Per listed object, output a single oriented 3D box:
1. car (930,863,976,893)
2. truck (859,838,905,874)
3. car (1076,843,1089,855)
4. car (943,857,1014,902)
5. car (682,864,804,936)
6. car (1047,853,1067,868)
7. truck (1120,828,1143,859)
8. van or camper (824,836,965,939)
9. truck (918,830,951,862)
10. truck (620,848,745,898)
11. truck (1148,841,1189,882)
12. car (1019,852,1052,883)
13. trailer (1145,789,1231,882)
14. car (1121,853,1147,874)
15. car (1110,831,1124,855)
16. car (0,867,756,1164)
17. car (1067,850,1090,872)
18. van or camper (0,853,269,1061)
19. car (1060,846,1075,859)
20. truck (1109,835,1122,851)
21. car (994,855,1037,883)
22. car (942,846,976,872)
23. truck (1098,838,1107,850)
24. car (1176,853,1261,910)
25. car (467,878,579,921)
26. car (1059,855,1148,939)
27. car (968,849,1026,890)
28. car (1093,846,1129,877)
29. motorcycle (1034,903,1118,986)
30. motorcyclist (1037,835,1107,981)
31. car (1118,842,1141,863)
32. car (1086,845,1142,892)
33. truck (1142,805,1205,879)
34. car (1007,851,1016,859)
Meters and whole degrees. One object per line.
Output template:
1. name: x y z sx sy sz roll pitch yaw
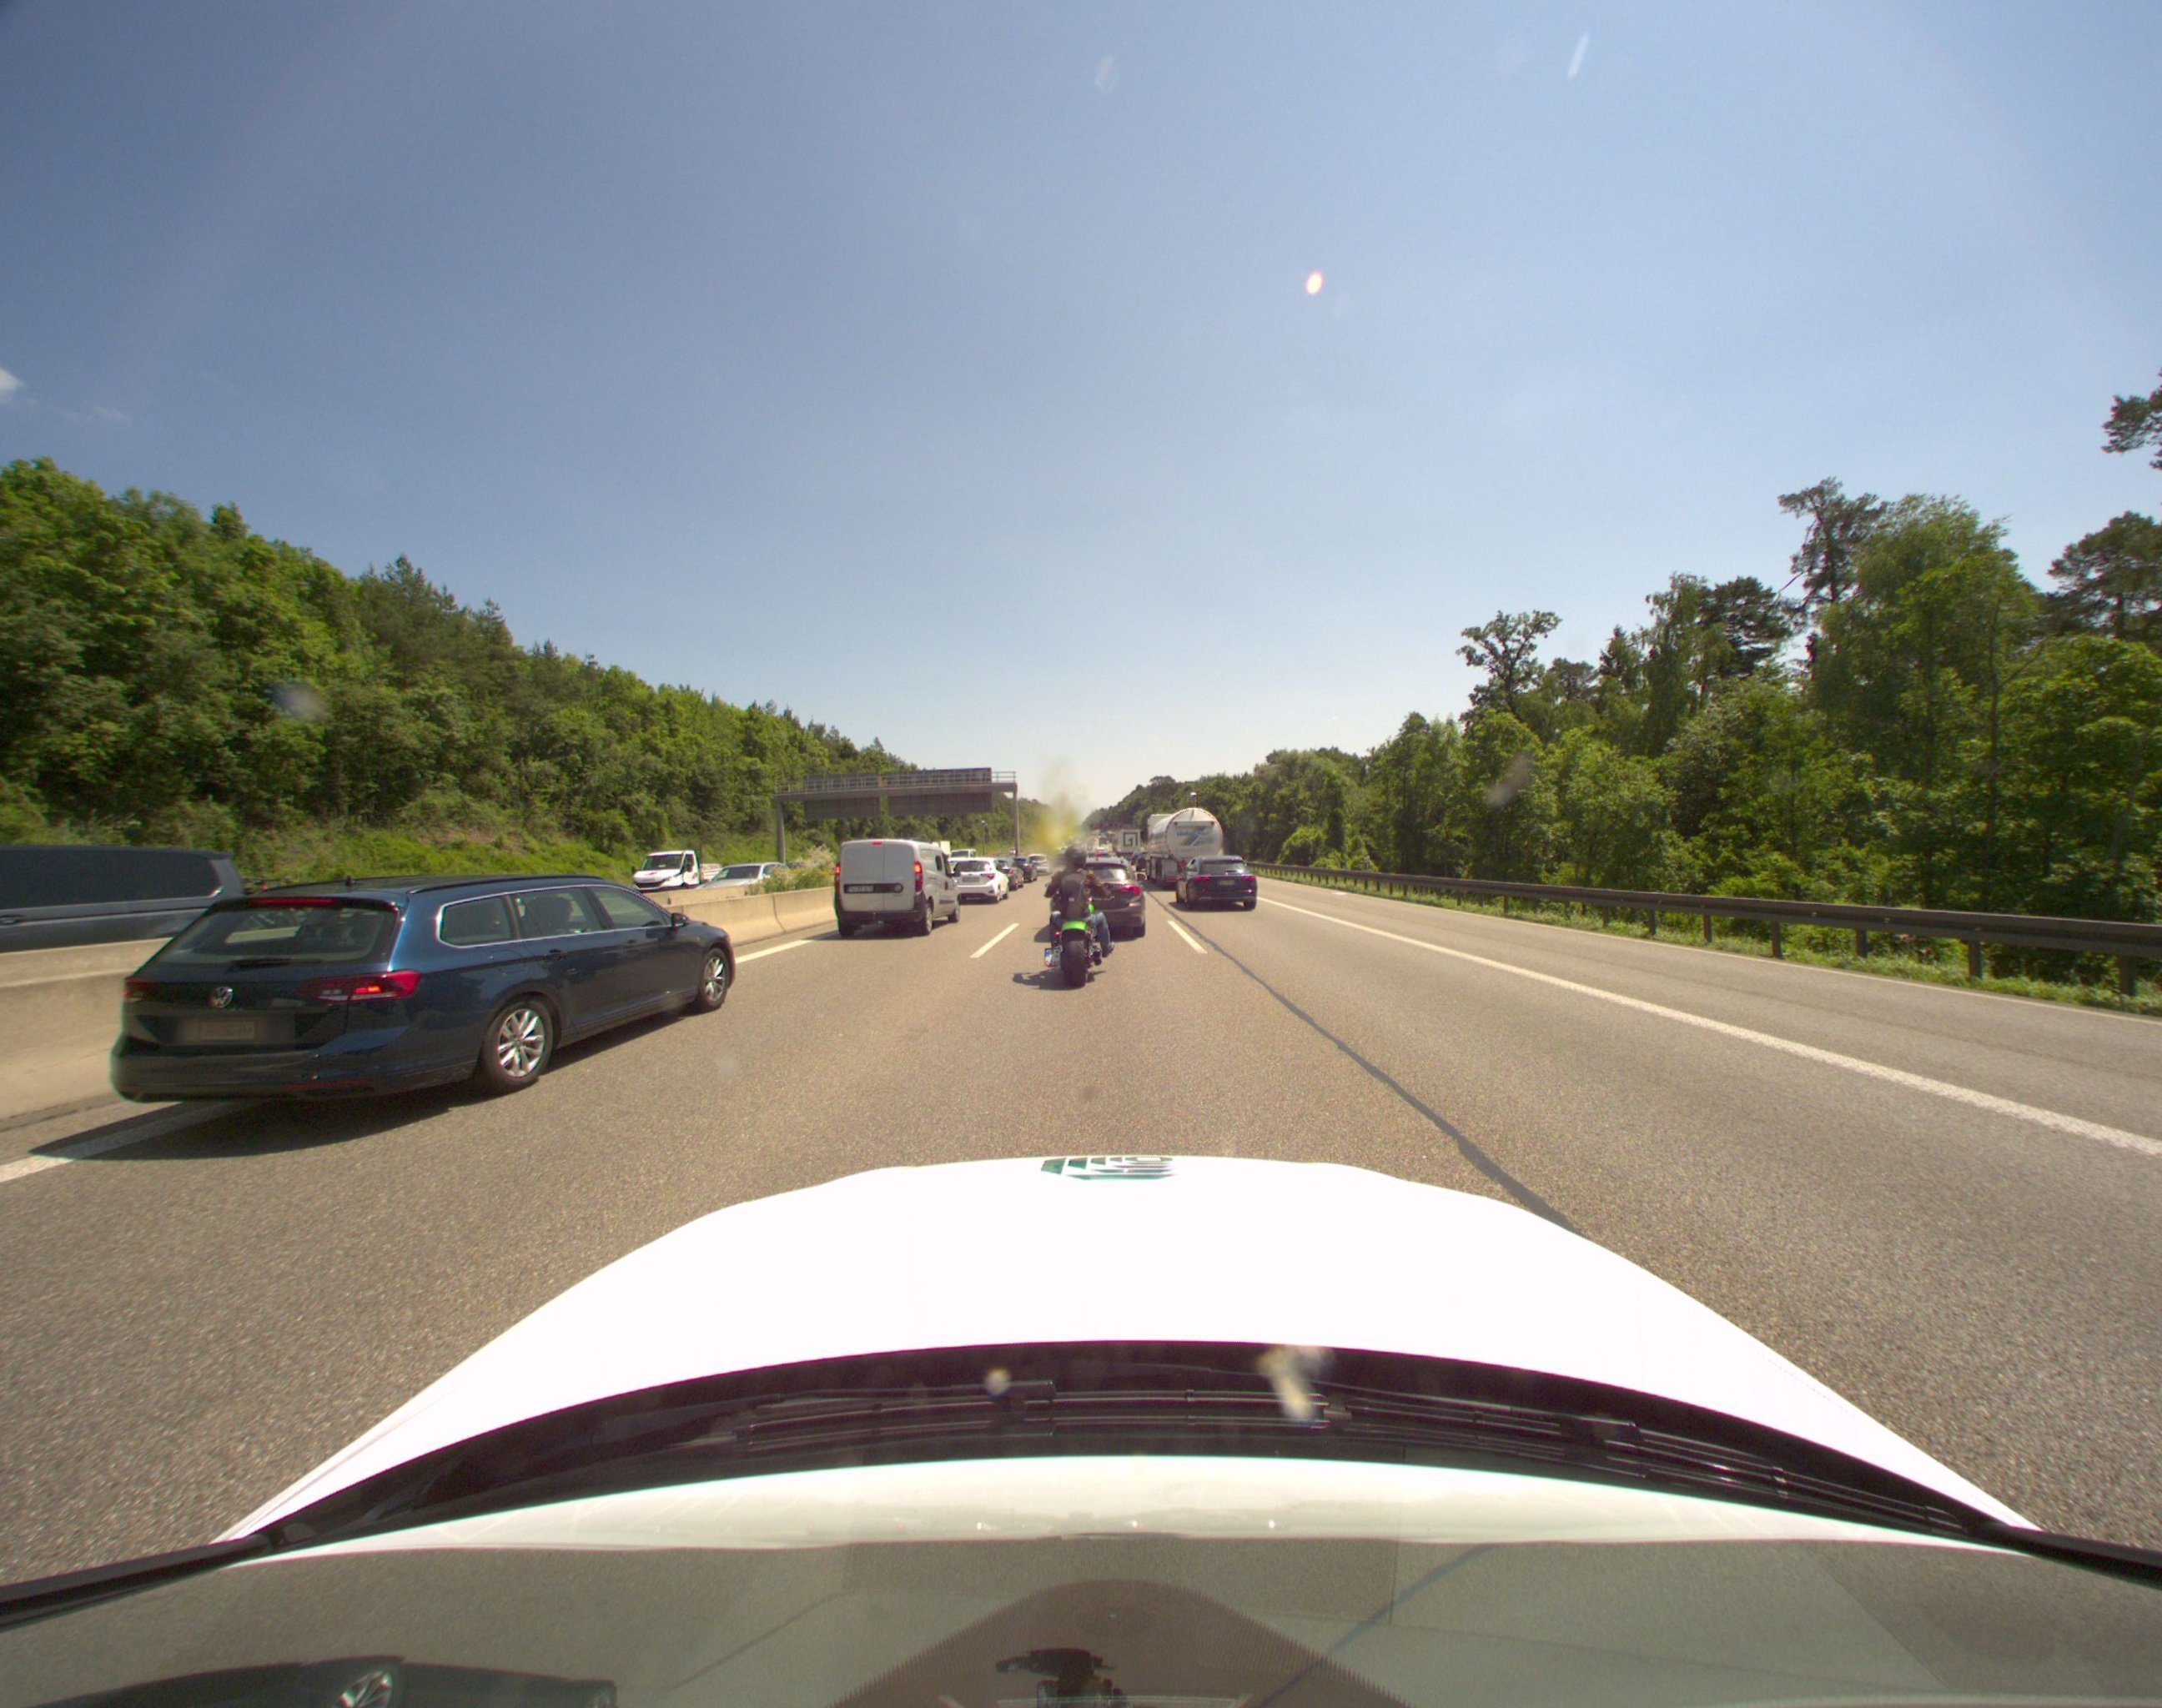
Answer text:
1. car: -6.953 1.281 44.713 1.818 1.494 4.000 -1 0 0
2. truck: -16.846 0.185 69.402 2.170 2.885 6.743 -1 -1 1
3. car: 0.251 -0.801 140.921 1.986 2.013 4.001 -2 0 1
4. car: -3.375 0.830 27.469 1.769 1.411 4.001 -1 -1 1
5. car: -10.314 1.339 25.228 1.986 2.014 4.002 -1 -1 2
6. car: -2.320 0.627 79.772 1.757 1.442 4.002 -1 -1 2
7. truck: 6.671 -1.279 107.353 2.841 3.821 7.195 -1 -1 4
8. van or camper: -3.782 0.607 17.399 1.846 1.880 4.563 -1 0 1
9. truck: -19.260 -0.945 107.575 2.682 3.990 7.992 -1 -1 2
10. truck: -17.535 0.816 36.359 2.343 2.014 6.492 -1 -1 0
11. truck: 6.706 0.564 63.577 2.380 2.979 8.253 -1 0 1
12. car: -3.117 0.950 56.684 1.986 2.014 4.000 -1 -1 1
13. trailer: 4.688 -0.641 37.897 2.817 3.671 10.735 -1 -1 2
14. car: 3.962 0.736 61.590 1.769 1.527 4.001 -1 -1 1
15. car: 6.244 -1.814 141.244 2.159 3.893 9.332 -1 -1 2
16. car: -4.523 0.860 6.484 1.867 1.450 4.679 -1 -1 1
17. car: -0.196 0.673 76.141 1.986 2.014 4.001 -1 -1 1
18. van or camper: -11.500 1.013 7.955 1.985 2.014 4.932 -1 -1 3
19. car: -1.717 -0.166 105.593 1.654 1.599 4.002 -1 -1 2
20. truck: 7.983 -2.560 190.111 2.686 3.405 10.481 -2 0 2
21. car: -3.543 0.804 44.752 1.987 1.464 3.999 -1 -1 0
22. car: -9.949 0.443 66.495 1.986 2.014 4.002 -1 -1 2
23. truck: 6.487 -3.037 246.852 2.686 3.405 10.481 -2 0 2
24. car: 3.850 0.749 23.551 1.785 1.458 4.625 -1 -1 2
25. car: -21.578 1.718 31.668 1.924 1.485 3.542 -1 -1 0
26. car: 0.445 0.746 16.206 1.535 1.450 4.001 -1 0 2
27. car: -3.625 0.686 35.912 1.986 1.684 4.331 -1 -1 1
28. car: 1.748 0.469 48.519 1.987 1.775 4.000 -1 -1 1
29. motorcycle: -0.026 1.077 10.269 0.932 0.793 2.299 -1 0 1
30. motorcyclist: -0.089 0.637 10.014 0.796 1.688 1.017 -1 -1 1
31. car: 4.731 -0.108 80.129 1.987 2.014 3.999 -1 -1 0
32. car: 1.230 0.561 31.657 1.987 1.711 4.000 -1 -1 1
33. truck: 4.856 -0.560 43.908 2.817 3.671 6.431 -1 -1 1
34. car: -17.299 0.253 202.969 1.893 2.013 4.001 -2 0 1
